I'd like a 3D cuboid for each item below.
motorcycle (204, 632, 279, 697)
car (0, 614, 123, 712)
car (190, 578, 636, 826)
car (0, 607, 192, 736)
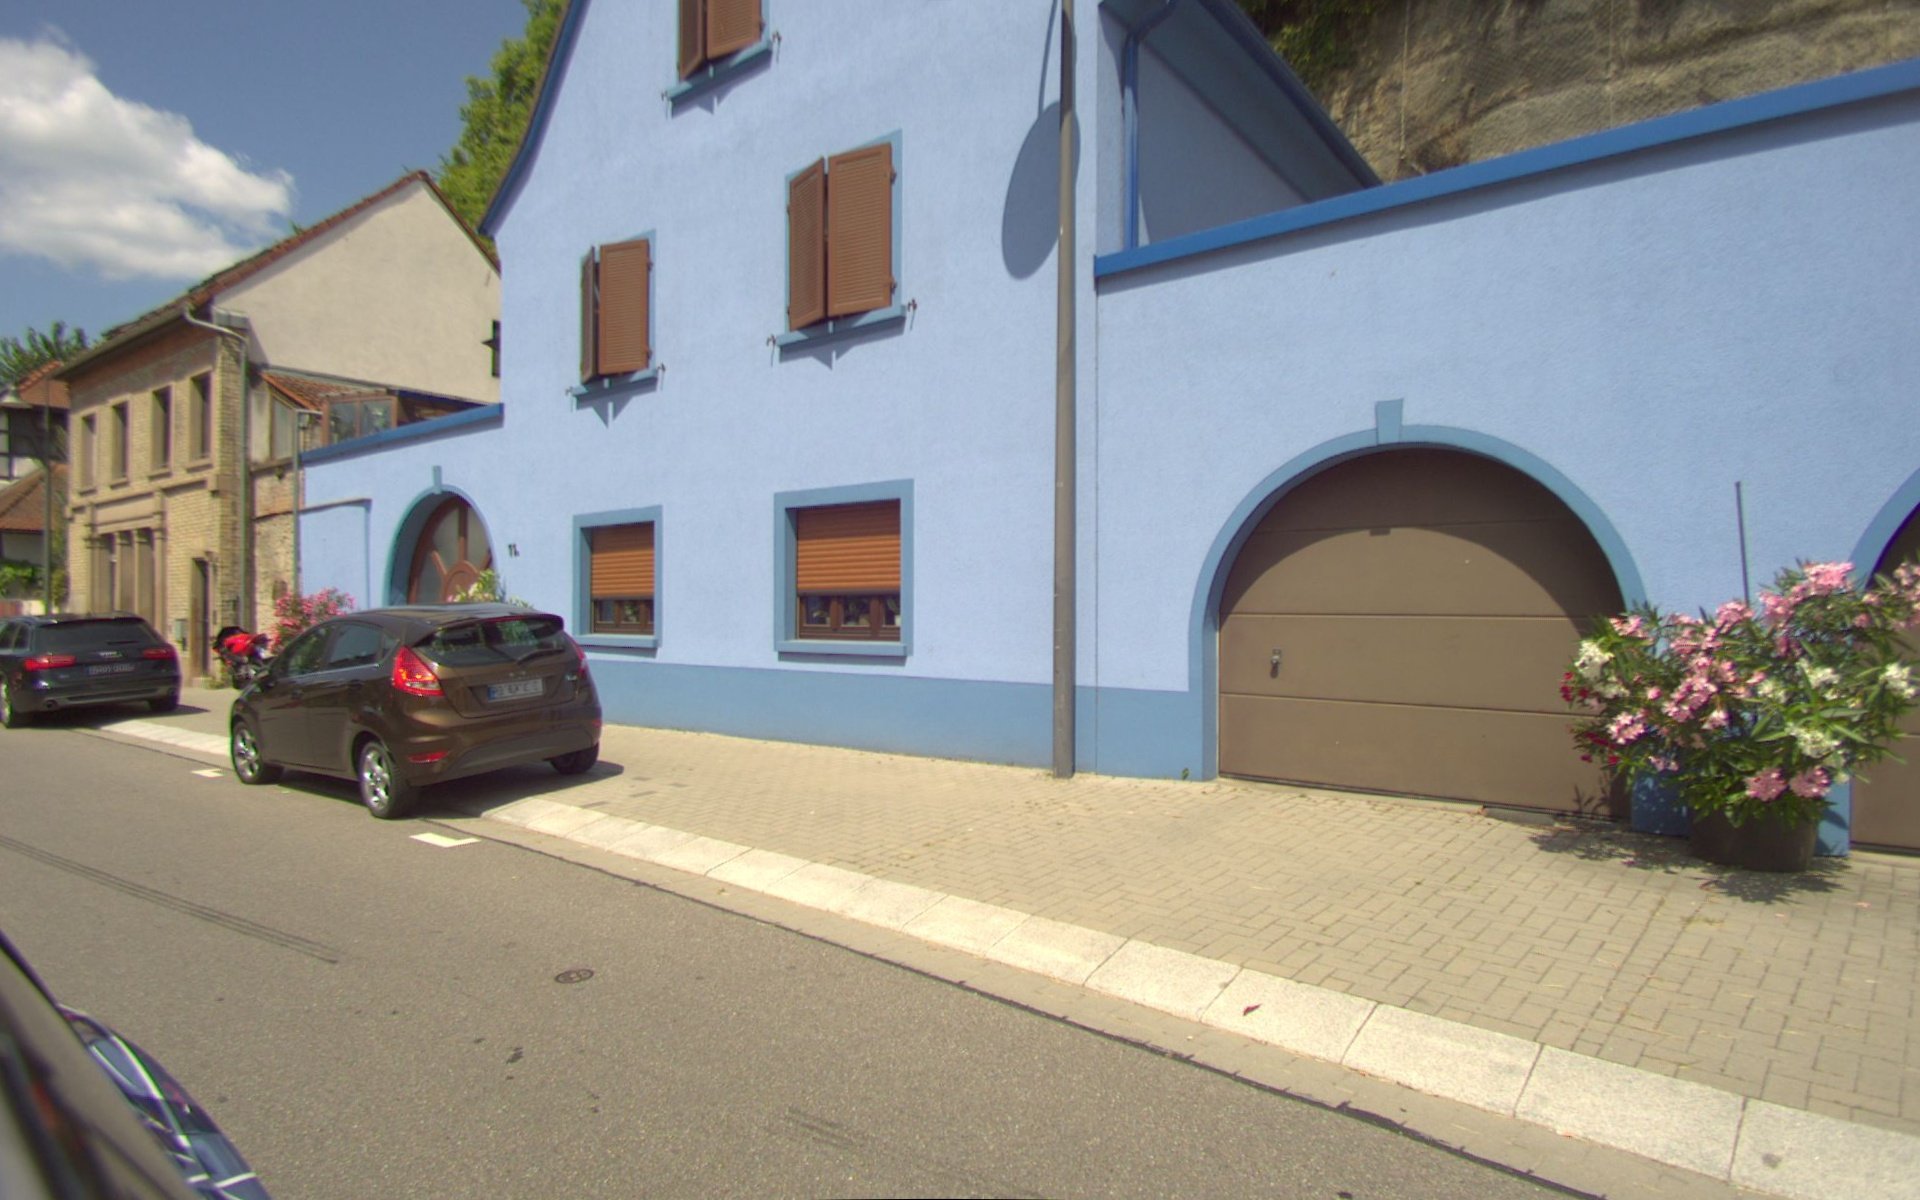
[{"bbox_3d":[-12.501,1.099,17.594,1.854,1.008,0.414,0,4,35],"label":"motorcycle"},{"bbox_3d":[-16.608,1.021,17.709,4.535,1.477,1.940,0,0,35],"label":"car"},{"bbox_3d":[-4.608,0.704,8.341,3.849,1.541,1.702,-2,1,37],"label":"car"},{"bbox_3d":[-12.877,0.932,14.433,4.661,1.475,1.868,-2,1,38],"label":"car"}]
